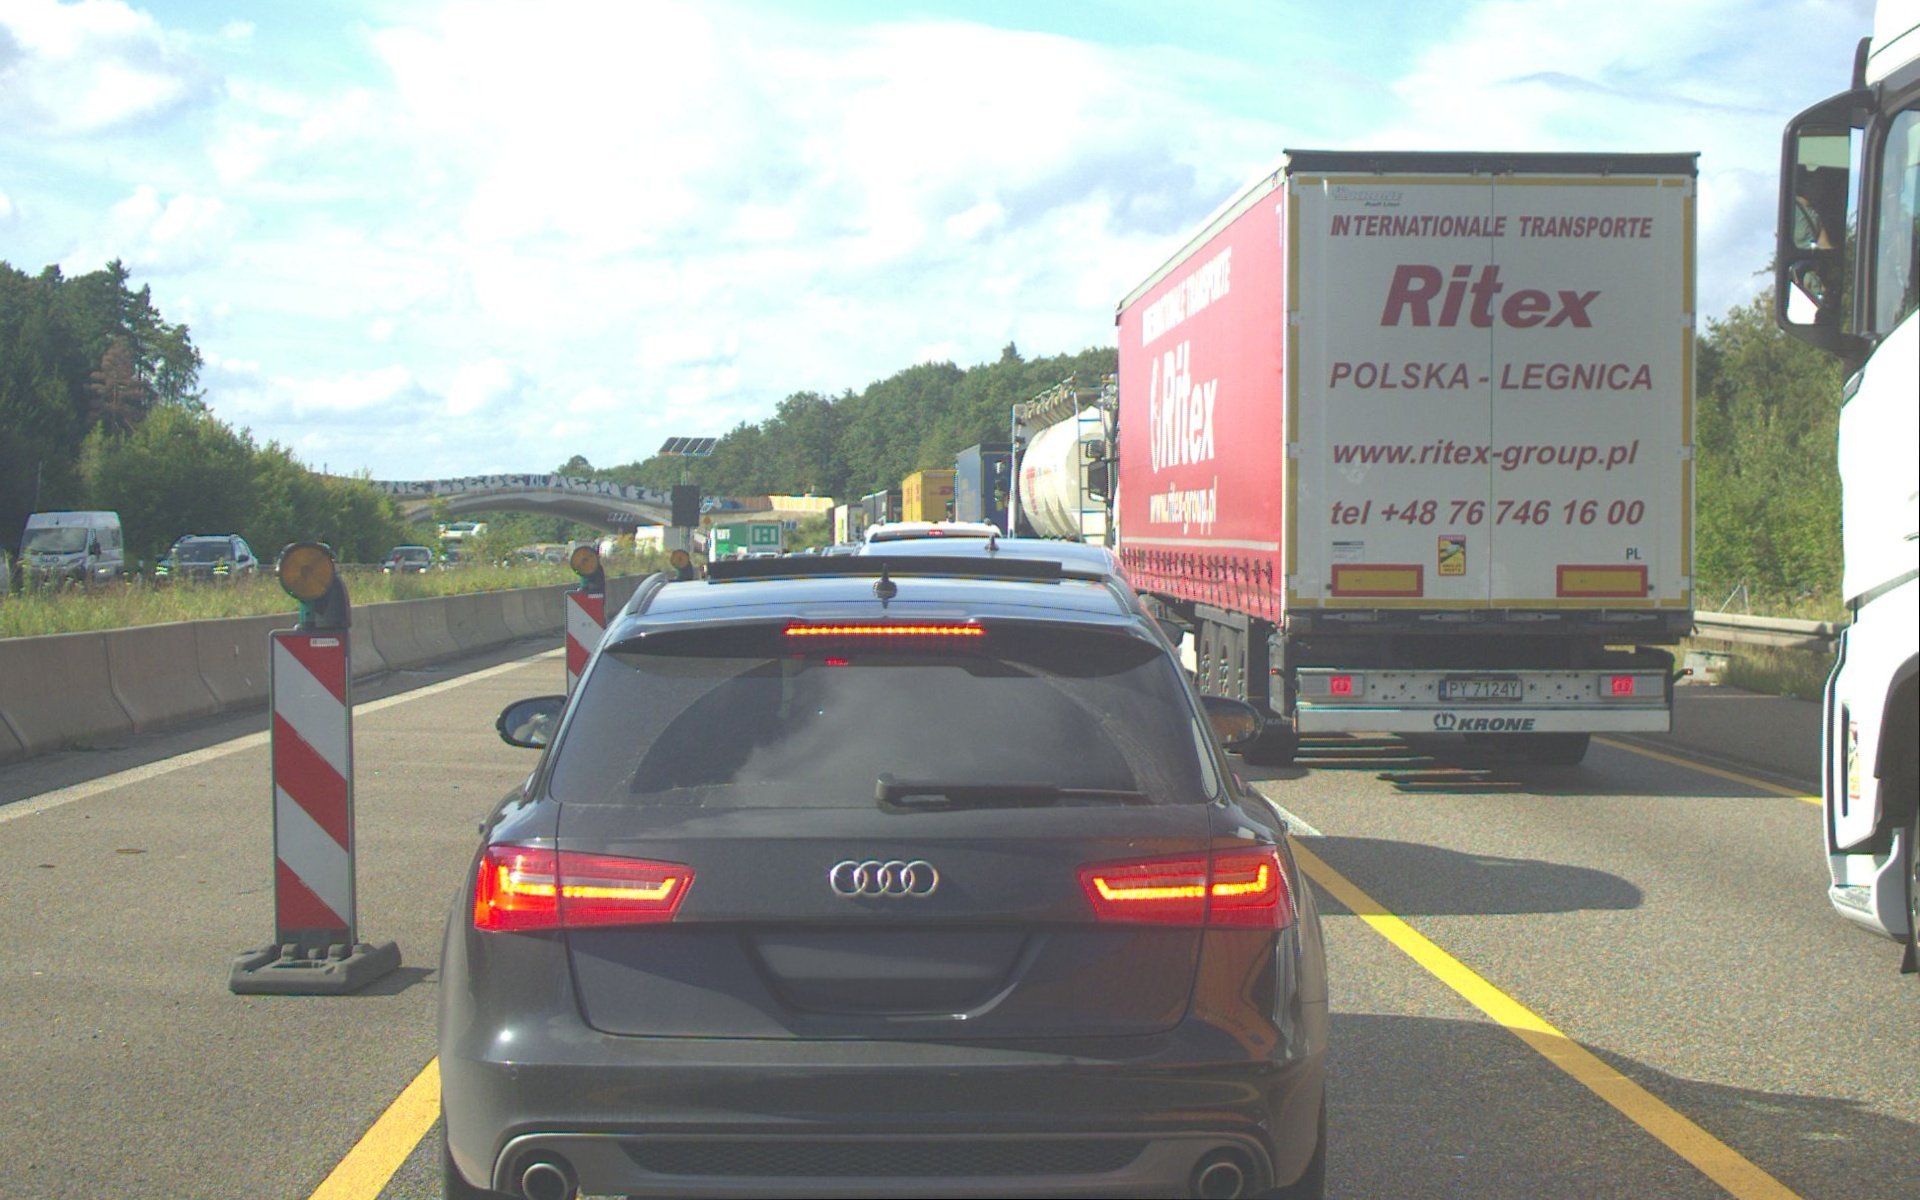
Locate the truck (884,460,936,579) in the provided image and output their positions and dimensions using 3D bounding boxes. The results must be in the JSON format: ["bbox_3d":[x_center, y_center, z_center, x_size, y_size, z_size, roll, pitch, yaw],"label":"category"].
[{"bbox_3d":[-2.196,-3.422,147.514,1.993,4.897,9.563,1,1,-2],"label":"truck"}]

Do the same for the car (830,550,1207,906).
[{"bbox_3d":[0.221,0.510,15.715,1.524,1.434,3.285,1,0,-1],"label":"car"}]

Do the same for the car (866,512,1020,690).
[{"bbox_3d":[-0.197,-0.003,37.439,1.581,1.830,3.112,1,0,-1],"label":"car"}]

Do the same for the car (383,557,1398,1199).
[{"bbox_3d":[-0.149,0.640,8.293,1.848,1.458,4.000,0,0,-1],"label":"car"}]

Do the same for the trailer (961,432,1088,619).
[{"bbox_3d":[1.536,-1.812,87.123,2.805,4.398,10.433,1,0,-1],"label":"trailer"}]

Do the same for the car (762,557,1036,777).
[{"bbox_3d":[-0.414,0.416,24.025,1.751,1.392,3.608,1,0,-1],"label":"car"}]

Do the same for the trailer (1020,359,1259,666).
[{"bbox_3d":[2.428,-1.218,50.692,2.644,3.929,12.598,1,1,-1],"label":"trailer"}]

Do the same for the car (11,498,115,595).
[{"bbox_3d":[-25.377,-1.506,97.442,2.250,2.634,5.021,1,0,-8],"label":"car"}]

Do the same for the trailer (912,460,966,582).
[{"bbox_3d":[-0.721,-2.560,114.072,1.616,3.905,6.490,1,0,-1],"label":"trailer"}]

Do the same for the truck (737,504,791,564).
[{"bbox_3d":[-14.143,-4.737,247.335,3.303,4.160,9.704,0,0,-6],"label":"truck"}]

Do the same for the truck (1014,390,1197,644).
[{"bbox_3d":[2.346,-1.331,57.153,2.659,3.958,5.779,1,0,-1],"label":"truck"}]

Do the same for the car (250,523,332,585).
[{"bbox_3d":[-22.512,-1.559,115.793,1.993,2.007,4.000,1,1,-1],"label":"car"}]

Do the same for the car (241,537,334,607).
[{"bbox_3d":[-18.349,-0.768,93.959,1.799,1.843,3.810,1,0,-1],"label":"car"}]

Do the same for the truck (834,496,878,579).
[{"bbox_3d":[-5.448,-3.253,180.754,2.137,4.243,7.072,1,0,-1],"label":"truck"}]

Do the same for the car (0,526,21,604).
[{"bbox_3d":[-25.462,-0.907,87.586,1.993,2.007,4.000,1,0,-1],"label":"car"}]

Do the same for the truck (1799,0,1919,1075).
[{"bbox_3d":[4.090,-0.474,8.345,2.494,3.767,5.790,1,1,-2],"label":"truck"}]

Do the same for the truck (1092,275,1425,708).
[{"bbox_3d":[2.859,-1.043,34.519,2.667,3.946,5.711,1,1,-1],"label":"truck"}]

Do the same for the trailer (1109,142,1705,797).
[{"bbox_3d":[3.017,-0.903,27.645,2.699,3.955,13.418,1,1,-1],"label":"trailer"}]

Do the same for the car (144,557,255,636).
[{"bbox_3d":[-17.012,-0.097,77.024,1.715,1.700,3.523,1,0,-1],"label":"car"}]

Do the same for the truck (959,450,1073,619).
[{"bbox_3d":[1.452,-1.727,93.154,2.806,4.354,7.792,1,0,-1],"label":"truck"}]

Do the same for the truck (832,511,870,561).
[{"bbox_3d":[-7.843,-4.571,246.735,2.566,3.455,7.399,1,0,-2],"label":"truck"}]
